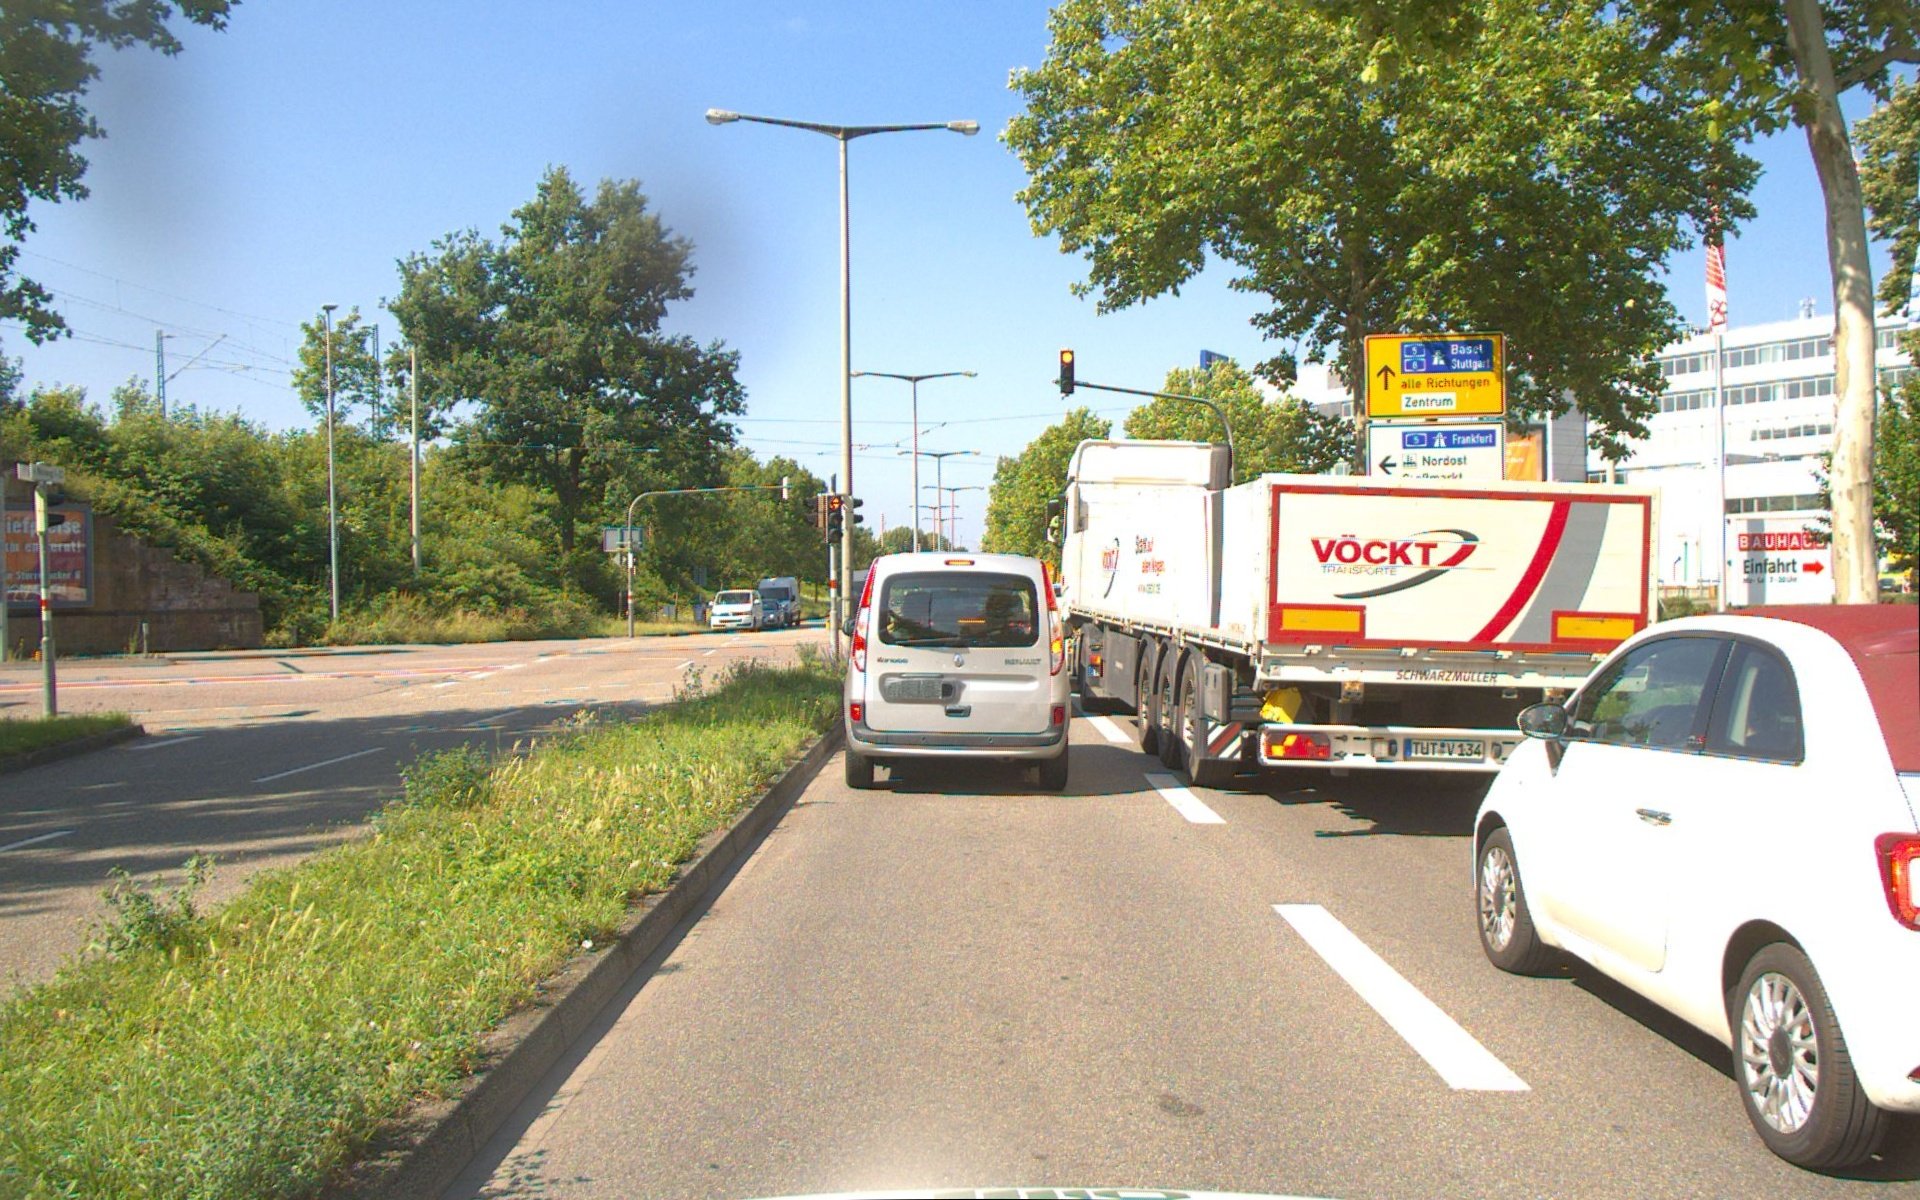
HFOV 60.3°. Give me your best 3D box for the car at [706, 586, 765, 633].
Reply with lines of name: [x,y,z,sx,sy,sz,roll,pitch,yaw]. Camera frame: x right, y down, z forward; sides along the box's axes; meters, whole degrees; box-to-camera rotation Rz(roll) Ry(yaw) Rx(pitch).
car: [-9.922,0.399,73.269,1.953,1.924,4.986,-3,0,-1]

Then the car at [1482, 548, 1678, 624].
car: [14.228,-0.310,38.105,3.903,1.691,1.724,0,0,5]

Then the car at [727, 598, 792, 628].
car: [-9.913,0.622,81.672,1.888,1.433,4.190,0,0,-27]

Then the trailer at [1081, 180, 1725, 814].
trailer: [3.123,-0.619,16.098,2.954,3.806,12.239,0,0,0]

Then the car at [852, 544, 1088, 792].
car: [0.043,0.495,14.035,1.713,1.803,3.948,0,0,-1]

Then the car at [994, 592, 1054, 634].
car: [2.650,0.530,69.446,1.955,1.668,3.995,0,0,-6]

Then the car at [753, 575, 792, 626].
car: [-10.159,0.042,89.611,2.019,2.660,5.861,0,0,-6]

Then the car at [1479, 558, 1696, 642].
car: [12.994,-0.003,34.411,3.903,1.691,1.724,0,0,5]

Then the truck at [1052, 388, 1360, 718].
truck: [3.073,-0.546,22.983,3.009,3.823,7.474,0,0,-1]

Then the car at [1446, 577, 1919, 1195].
car: [2.977,0.682,5.677,1.627,1.461,3.520,0,0,1]
